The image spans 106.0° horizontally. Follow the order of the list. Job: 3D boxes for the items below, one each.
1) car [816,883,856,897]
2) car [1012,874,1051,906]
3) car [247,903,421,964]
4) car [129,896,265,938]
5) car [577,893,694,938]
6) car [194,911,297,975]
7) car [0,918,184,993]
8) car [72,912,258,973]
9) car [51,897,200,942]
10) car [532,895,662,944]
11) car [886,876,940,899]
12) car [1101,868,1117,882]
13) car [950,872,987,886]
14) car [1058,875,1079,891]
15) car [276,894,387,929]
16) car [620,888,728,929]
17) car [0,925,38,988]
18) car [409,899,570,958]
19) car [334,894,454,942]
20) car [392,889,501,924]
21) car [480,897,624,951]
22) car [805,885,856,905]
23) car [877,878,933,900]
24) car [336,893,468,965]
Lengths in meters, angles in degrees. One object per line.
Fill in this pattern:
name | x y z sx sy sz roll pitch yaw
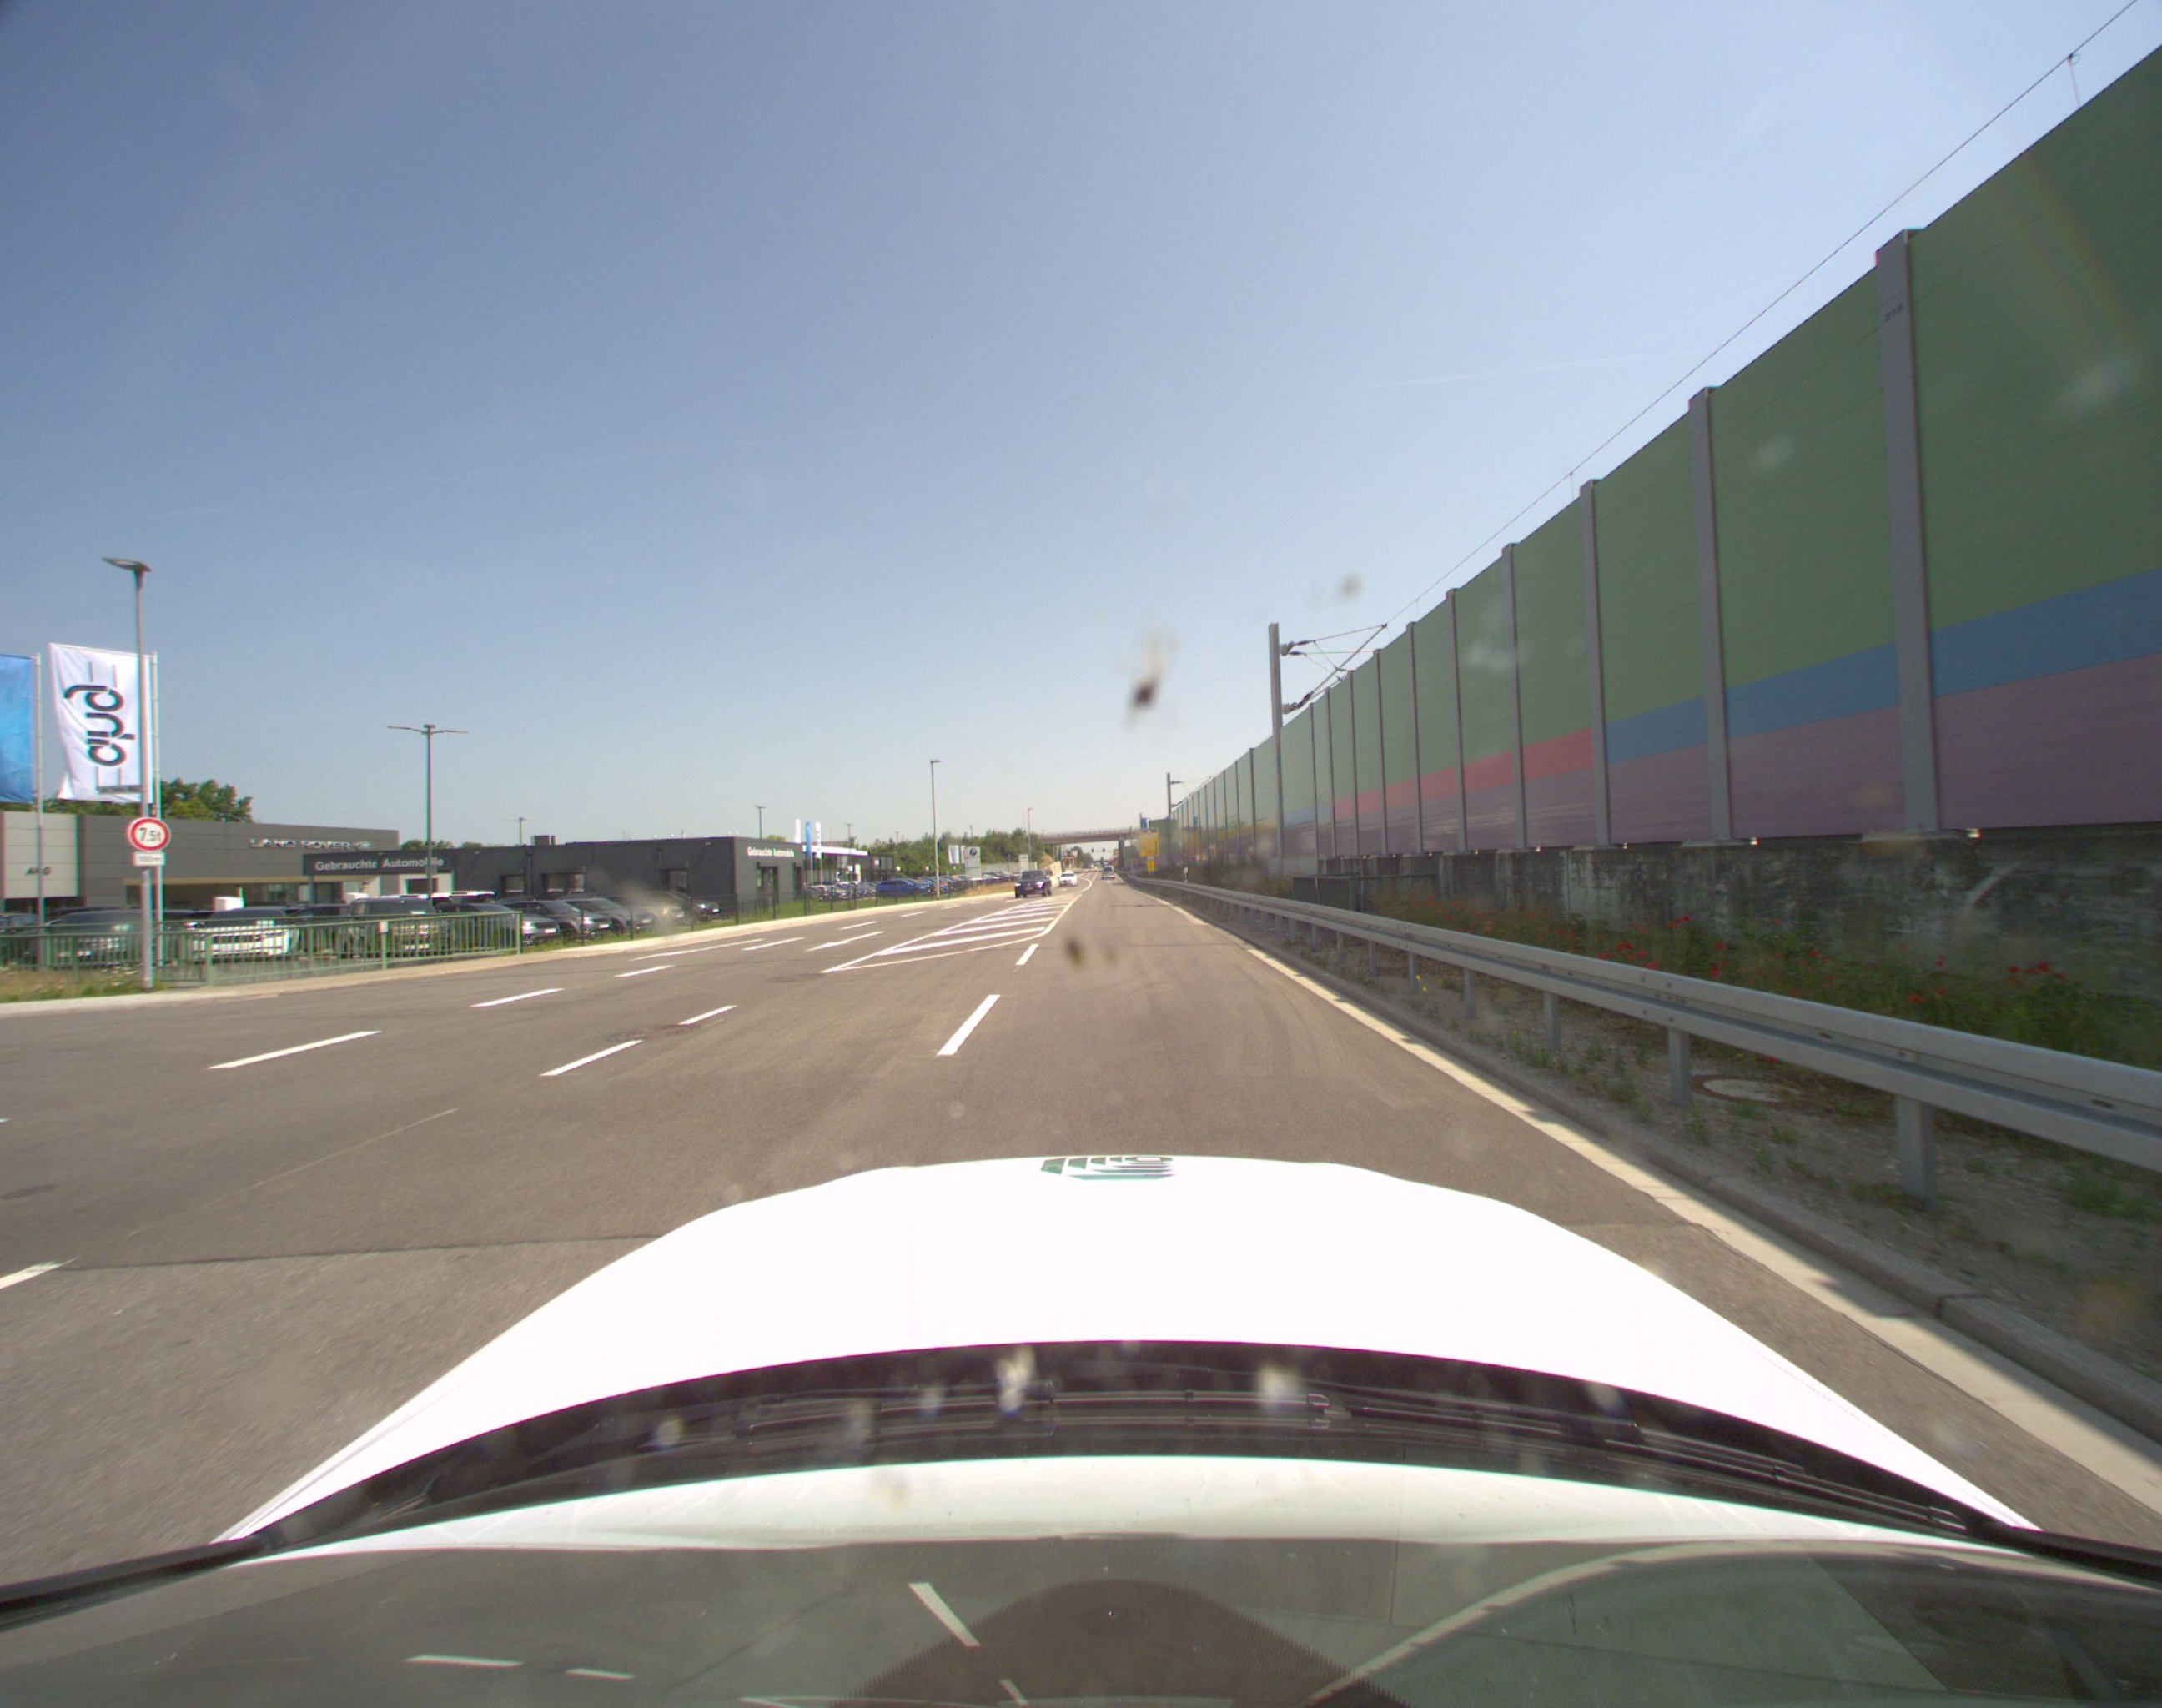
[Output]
car | -29.458 4.310 98.124 4.148 1.466 1.816 -3 0 1
car | -2.912 2.148 49.053 1.870 1.673 4.292 -3 -1 2
car | -25.377 2.677 27.785 3.975 1.665 1.976 -3 0 -1
car | -36.185 2.563 33.399 3.673 1.421 1.685 -2 0 -1
car | -19.457 2.657 35.686 3.972 1.632 1.968 -3 0 1
car | -24.078 2.476 23.511 4.452 1.562 1.938 -4 -2 44
car | -27.615 2.756 22.225 3.975 1.665 1.976 -3 0 -1
car | -30.978 2.963 27.646 3.975 1.665 1.976 -3 0 -1
car | -37.051 2.526 31.644 3.673 1.445 1.685 -2 0 -1
car | -19.516 2.638 32.989 3.975 1.632 1.976 -3 0 -1
car | -13.907 2.742 67.544 3.975 1.636 1.815 -3 -1 -1
car | 3.914 2.889 113.063 1.985 1.757 4.003 -2 -1 3
car | -13.576 3.028 98.215 4.148 1.466 1.816 -3 0 1
car | -1.254 2.949 83.521 1.773 1.416 4.053 -3 -1 3
car | -36.021 2.758 39.186 3.673 1.421 1.685 -2 0 -1
car | -19.345 2.570 38.822 4.136 1.632 1.822 -3 0 -1
car | -31.934 2.978 22.348 3.975 1.665 1.976 -3 0 -1
car | -19.932 2.481 27.568 3.975 1.632 1.886 -3 0 -1
car | -30.433 2.817 36.157 3.825 1.828 1.685 -2 -1 -1
car | -30.476 2.514 39.187 3.825 1.421 1.685 -2 0 -1
car | -19.600 2.579 30.333 3.975 1.632 1.976 -3 0 -1
car | -23.061 3.767 75.073 3.975 1.494 1.815 -3 0 -1
car | -13.987 2.787 65.042 3.975 1.480 1.911 -3 0 -1
car | -20.038 2.142 23.986 4.619 1.865 2.079 -3 -3 38
